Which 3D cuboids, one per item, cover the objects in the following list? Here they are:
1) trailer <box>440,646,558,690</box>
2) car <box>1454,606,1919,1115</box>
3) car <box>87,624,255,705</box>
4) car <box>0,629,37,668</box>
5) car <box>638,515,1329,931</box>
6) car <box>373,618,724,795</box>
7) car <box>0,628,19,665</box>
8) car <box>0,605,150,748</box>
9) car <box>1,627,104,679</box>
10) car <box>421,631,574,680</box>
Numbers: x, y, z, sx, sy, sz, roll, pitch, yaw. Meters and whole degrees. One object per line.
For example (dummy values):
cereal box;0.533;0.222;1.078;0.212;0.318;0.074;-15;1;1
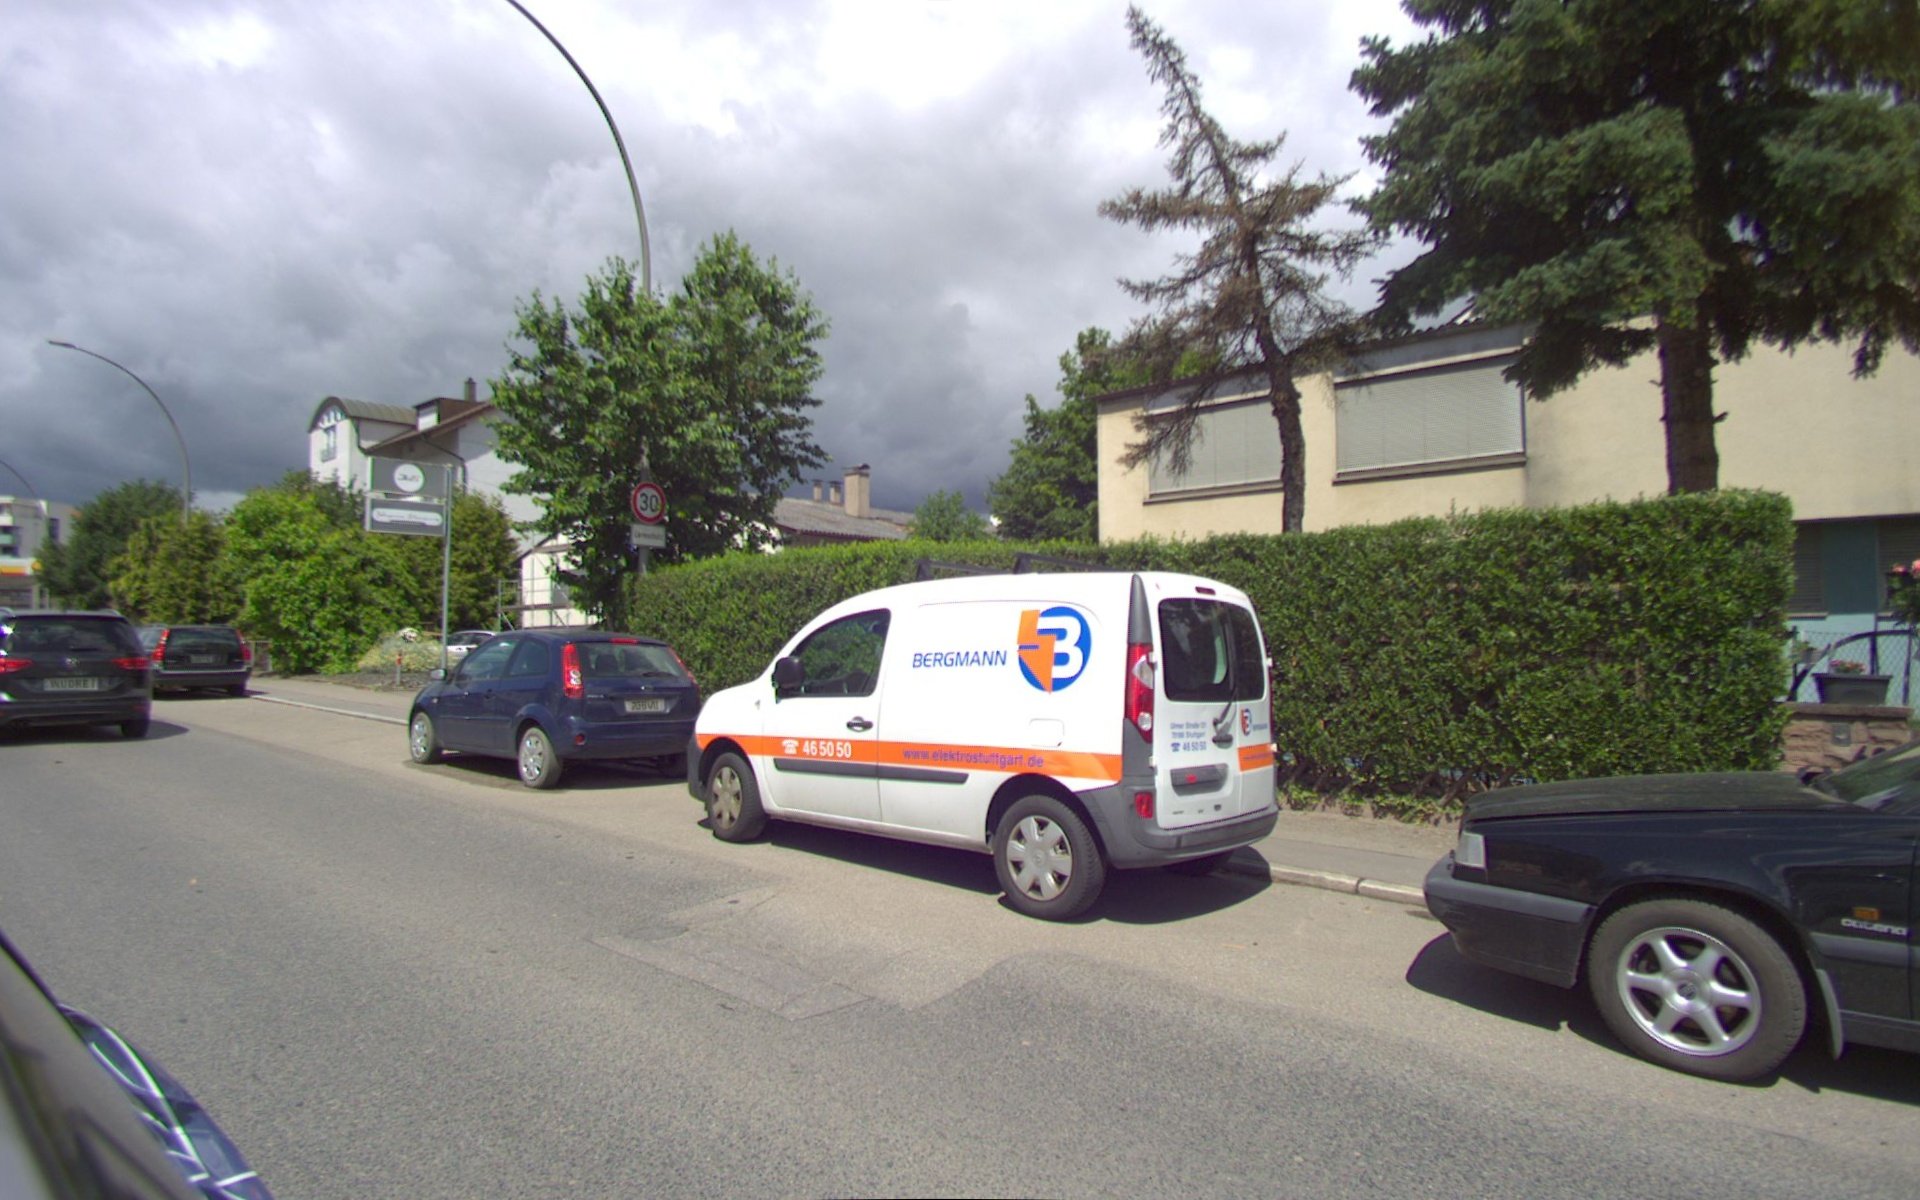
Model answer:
trailer;-12.891;1.854;28.232;3.812;1.135;1.543;-2;-3;41
car;4.182;0.798;2.980;4.639;1.483;1.726;-2;-6;40
car;-16.518;1.301;21.102;4.730;1.504;1.702;-2;-4;39
car;-37.245;1.874;39.183;4.335;1.446;1.645;-2;-5;41
car;-0.069;0.661;6.596;4.351;1.852;1.726;-2;-6;40
car;-4.376;1.018;10.512;3.996;1.498;1.623;-2;-6;40
car;-41.099;1.937;42.582;3.942;1.523;1.645;-2;-6;40
car;-12.349;0.946;13.418;4.352;1.640;1.725;-2;-2;40
car;-26.880;1.559;29.931;4.335;1.425;1.645;-2;-4;41
car;-14.355;1.749;31.635;3.935;1.398;1.896;2;-4;-9
